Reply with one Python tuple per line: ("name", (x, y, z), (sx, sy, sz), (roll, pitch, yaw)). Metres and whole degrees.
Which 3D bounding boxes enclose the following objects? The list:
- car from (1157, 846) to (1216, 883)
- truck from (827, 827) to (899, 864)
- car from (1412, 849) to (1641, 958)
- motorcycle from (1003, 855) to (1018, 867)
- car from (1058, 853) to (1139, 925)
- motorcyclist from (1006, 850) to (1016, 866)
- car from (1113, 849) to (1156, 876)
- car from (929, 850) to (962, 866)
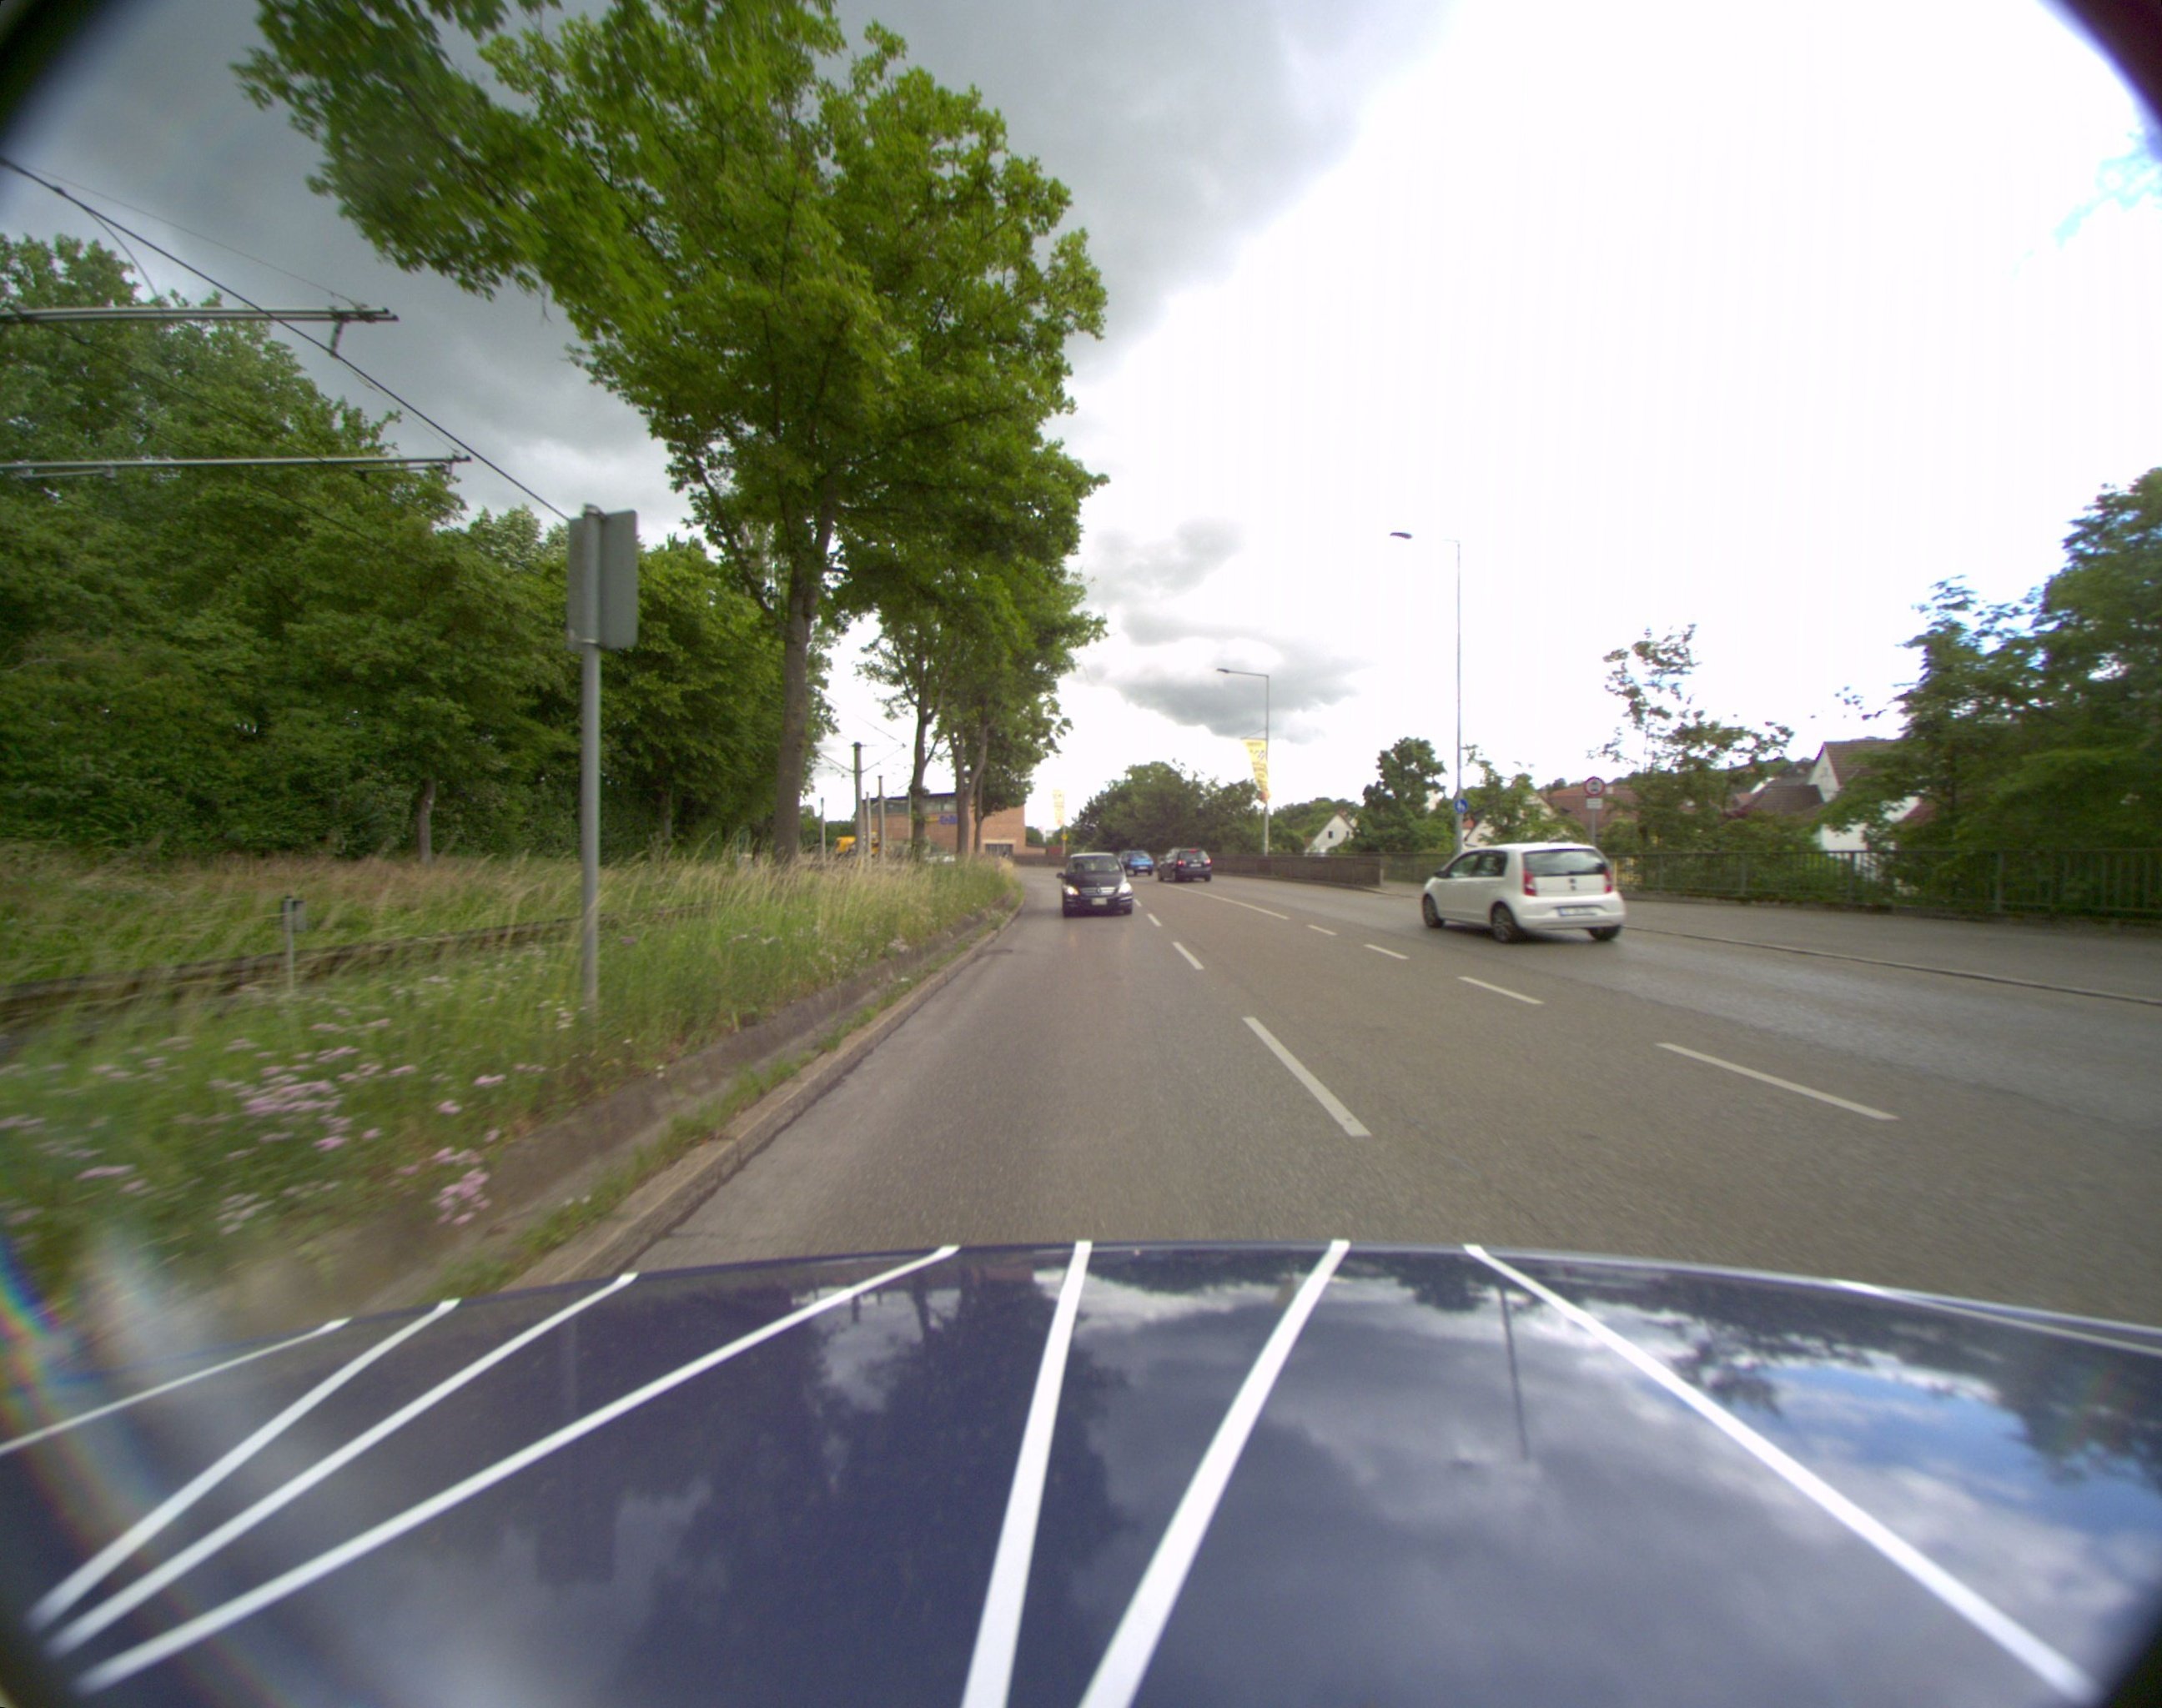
("car", (4.912, 0.464, 35.893), (1.725, 1.598, 4.011), (-2, 1, -7))
("truck", (-25.716, -0.935, 89.178), (10.110, 3.916, 2.682), (-2, 2, 40))
("car", (6.946, 0.675, 12.314), (1.584, 1.457, 3.696), (-1, 0, 1))
("motorcycle", (-6.034, 0.581, 65.143), (0.686, 1.055, 1.715), (-1, 1, -29))
("car", (0.351, 0.812, 19.697), (1.752, 1.556, 4.073), (-2, 1, -3))
("motorcyclist", (-5.980, 0.340, 64.976), (0.622, 1.348, 0.838), (-1, 1, -28))
("car", (3.173, 0.465, 45.599), (1.586, 1.477, 3.692), (-3, 1, -11))
("car", (-13.784, 0.402, 77.127), (1.755, 1.478, 3.645), (-3, 1, -37))
